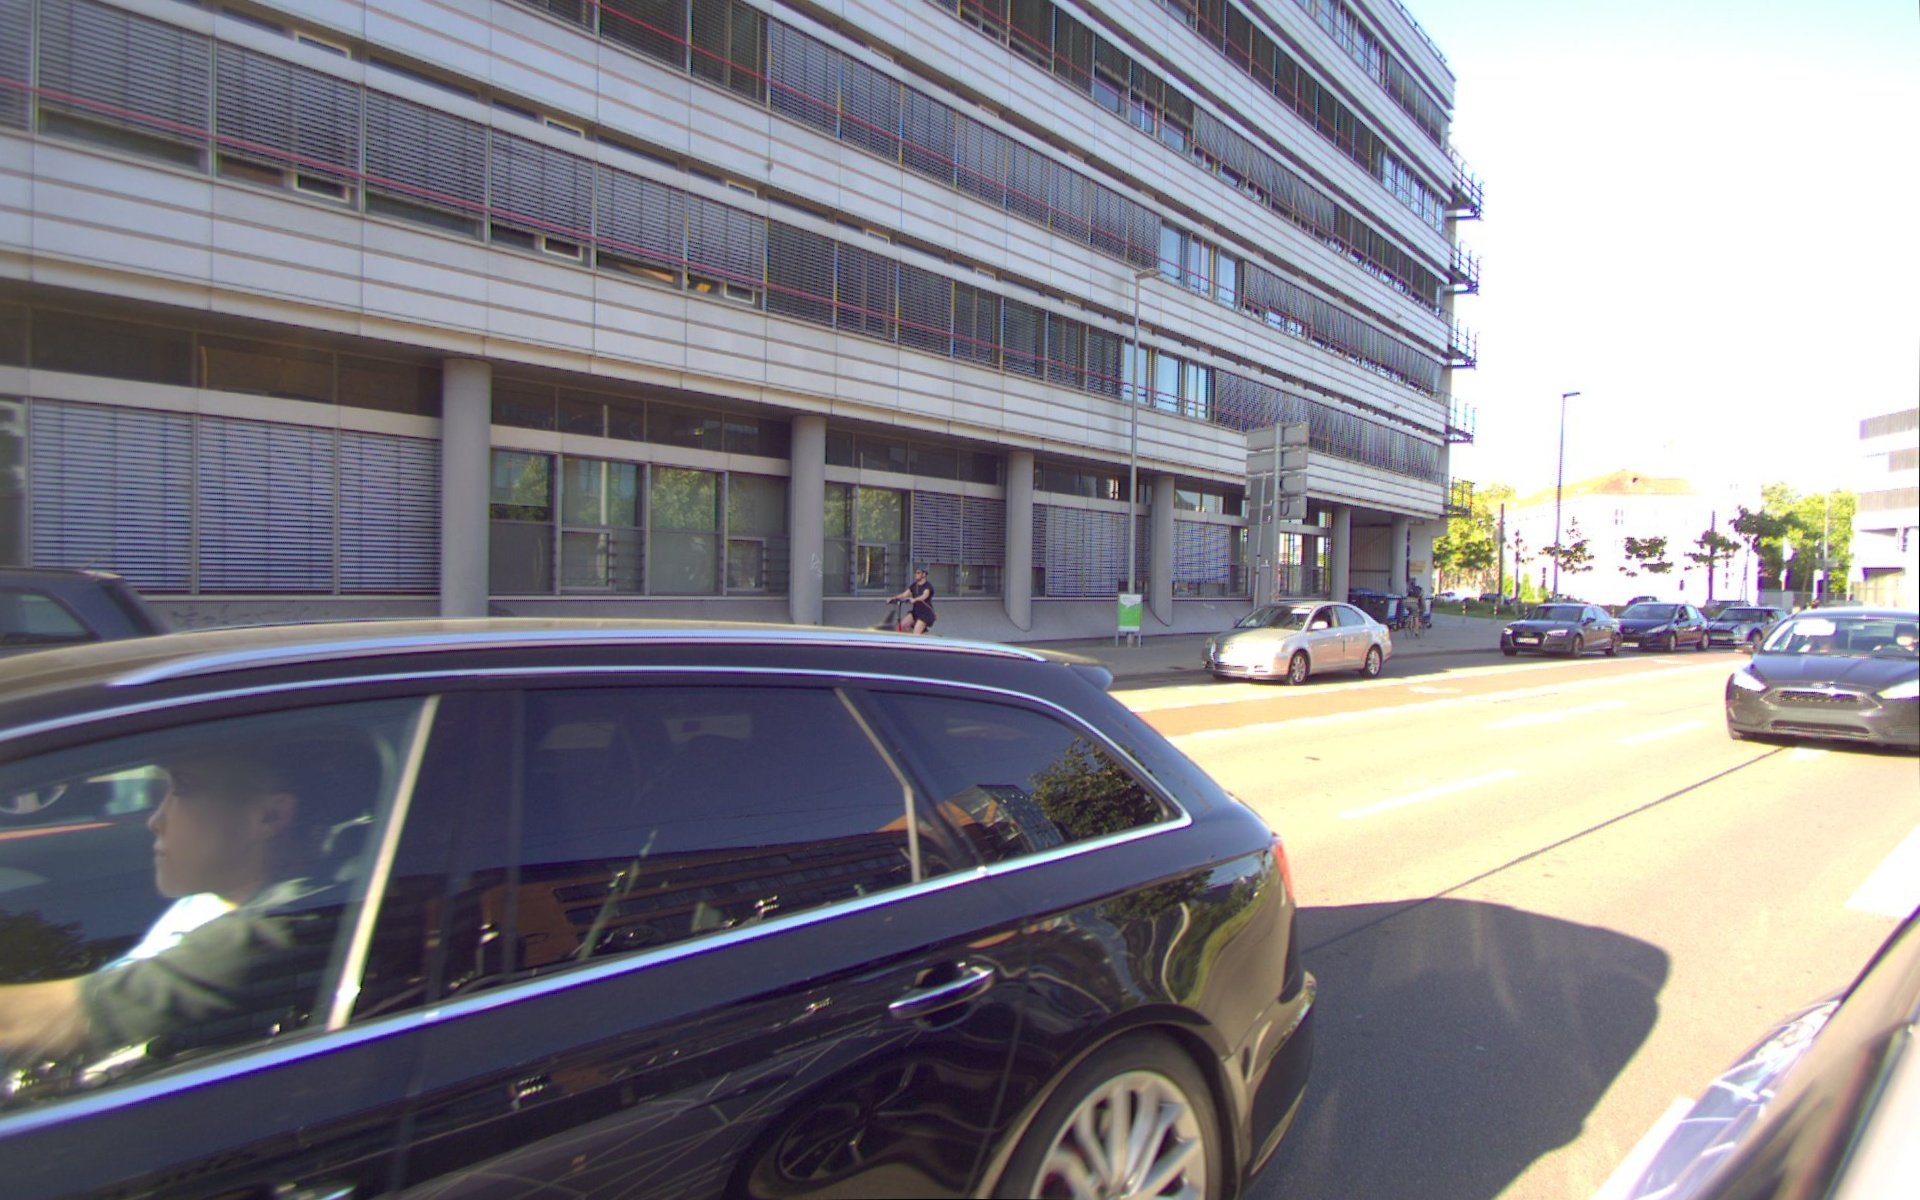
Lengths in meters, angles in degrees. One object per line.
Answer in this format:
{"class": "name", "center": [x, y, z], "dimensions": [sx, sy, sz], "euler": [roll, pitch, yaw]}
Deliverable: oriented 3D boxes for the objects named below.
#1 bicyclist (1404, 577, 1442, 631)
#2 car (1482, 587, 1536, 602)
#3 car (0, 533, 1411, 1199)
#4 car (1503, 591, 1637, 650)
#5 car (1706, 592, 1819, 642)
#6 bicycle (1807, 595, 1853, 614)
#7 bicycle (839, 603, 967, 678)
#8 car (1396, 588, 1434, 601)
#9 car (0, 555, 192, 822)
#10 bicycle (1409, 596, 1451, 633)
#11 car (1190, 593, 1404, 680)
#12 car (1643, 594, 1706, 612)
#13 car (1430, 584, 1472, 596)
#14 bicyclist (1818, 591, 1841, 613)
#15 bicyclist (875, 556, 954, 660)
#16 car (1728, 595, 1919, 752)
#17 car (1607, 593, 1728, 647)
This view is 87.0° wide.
{"class": "bicyclist", "center": [14.474, 0.117, 31.620], "dimensions": [0.973, 1.638, 0.685], "euler": [0, 1, -39]}
{"class": "car", "center": [55.641, -0.577, 102.609], "dimensions": [1.958, 1.440, 4.535], "euler": [0, 1, -23]}
{"class": "car", "center": [-1.285, 0.658, 1.567], "dimensions": [4.415, 1.510, 1.816], "euler": [0, 3, -40]}
{"class": "car", "center": [16.125, 0.553, 26.705], "dimensions": [4.035, 1.460, 1.714], "euler": [2, -2, -38]}
{"class": "car", "center": [26.827, 0.581, 33.814], "dimensions": [3.918, 1.463, 1.443], "euler": [2, 2, -28]}
{"class": "bicycle", "center": [64.267, 0.295, 74.799], "dimensions": [0.932, 1.328, 2.376], "euler": [0, 1, -28]}
{"class": "bicycle", "center": [-0.904, 0.632, 16.467], "dimensions": [2.168, 1.043, 0.500], "euler": [-1, 10, -42]}
{"class": "car", "center": [51.857, -0.655, 115.410], "dimensions": [1.894, 1.393, 4.009], "euler": [1, 1, -15]}
{"class": "car", "center": [-7.418, 0.530, 6.117], "dimensions": [4.383, 1.649, 1.692], "euler": [0, 2, -39]}
{"class": "bicycle", "center": [14.708, 0.436, 31.652], "dimensions": [1.672, 1.070, 0.505], "euler": [-1, 4, -40]}
{"class": "car", "center": [6.402, 0.605, 18.980], "dimensions": [4.408, 1.449, 1.754], "euler": [0, 0, -40]}
{"class": "car", "center": [61.791, 0.269, 87.563], "dimensions": [1.958, 1.440, 4.009], "euler": [0, 1, -21]}
{"class": "car", "center": [53.306, -1.084, 109.972], "dimensions": [1.958, 1.259, 4.009], "euler": [1, 1, -15]}
{"class": "bicyclist", "center": [64.275, 0.133, 74.818], "dimensions": [0.862, 1.627, 1.009], "euler": [0, 1, -28]}
{"class": "bicyclist", "center": [-0.745, 0.108, 16.686], "dimensions": [1.026, 1.583, 0.626], "euler": [-2, 10, -44]}
{"class": "car", "center": [10.099, 0.680, 11.209], "dimensions": [4.080, 1.451, 1.689], "euler": [0, 0, -40]}
{"class": "car", "center": [21.545, 0.581, 30.788], "dimensions": [3.924, 1.463, 1.738], "euler": [1, 3, -35]}
